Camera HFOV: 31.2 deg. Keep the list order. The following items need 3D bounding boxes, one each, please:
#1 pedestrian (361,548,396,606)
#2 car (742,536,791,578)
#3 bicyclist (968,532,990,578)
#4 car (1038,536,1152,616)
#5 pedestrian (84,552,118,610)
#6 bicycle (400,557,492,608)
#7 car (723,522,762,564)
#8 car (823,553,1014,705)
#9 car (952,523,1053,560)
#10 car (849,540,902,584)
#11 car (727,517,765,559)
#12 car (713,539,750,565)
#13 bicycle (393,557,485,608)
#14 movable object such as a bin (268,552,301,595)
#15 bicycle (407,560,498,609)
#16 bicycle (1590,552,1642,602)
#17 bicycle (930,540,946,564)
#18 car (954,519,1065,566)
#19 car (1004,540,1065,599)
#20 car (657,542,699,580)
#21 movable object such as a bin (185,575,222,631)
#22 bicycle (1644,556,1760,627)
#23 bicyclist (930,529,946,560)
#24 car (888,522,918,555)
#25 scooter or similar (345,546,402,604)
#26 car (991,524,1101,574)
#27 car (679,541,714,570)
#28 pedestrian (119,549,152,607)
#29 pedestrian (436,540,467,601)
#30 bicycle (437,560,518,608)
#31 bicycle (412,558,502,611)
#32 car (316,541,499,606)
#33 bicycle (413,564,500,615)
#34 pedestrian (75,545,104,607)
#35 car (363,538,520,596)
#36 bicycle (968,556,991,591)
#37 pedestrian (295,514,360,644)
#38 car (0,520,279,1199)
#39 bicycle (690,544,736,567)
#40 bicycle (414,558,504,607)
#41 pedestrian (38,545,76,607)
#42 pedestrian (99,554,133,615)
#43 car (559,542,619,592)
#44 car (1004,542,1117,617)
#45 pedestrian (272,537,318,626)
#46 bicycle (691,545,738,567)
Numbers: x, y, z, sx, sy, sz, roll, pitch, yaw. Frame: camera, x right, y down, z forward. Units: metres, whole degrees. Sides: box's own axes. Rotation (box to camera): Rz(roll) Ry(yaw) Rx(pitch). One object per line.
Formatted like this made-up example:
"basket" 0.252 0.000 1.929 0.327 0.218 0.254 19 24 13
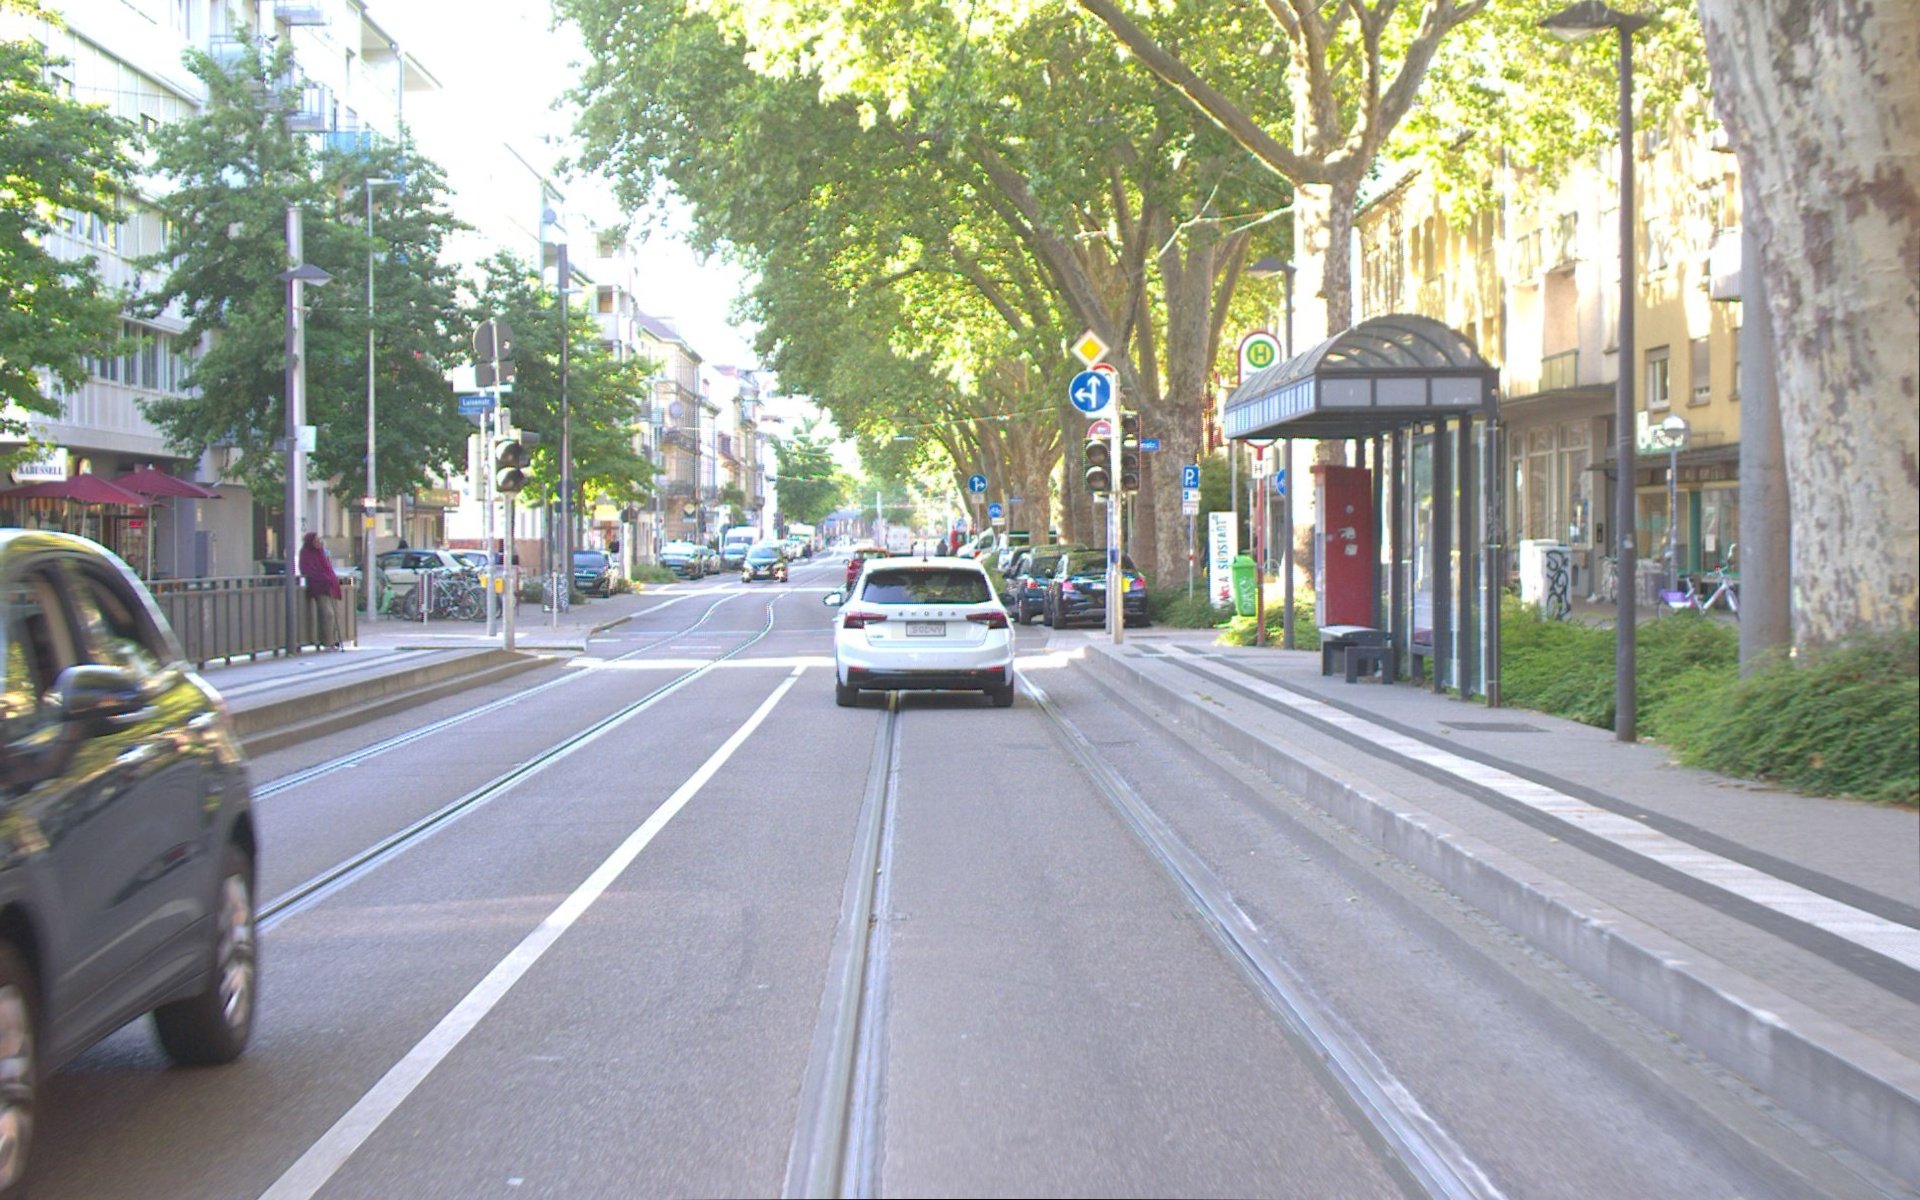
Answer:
"pedestrian" -13.182 -0.530 77.920 0.712 1.293 0.748 -1 1 -15
"car" -7.807 -1.752 139.250 1.871 1.584 4.147 2 1 -2
"bicyclist" 0.594 -1.426 109.296 0.678 1.438 1.047 -1 1 0
"car" 2.518 -0.485 65.228 1.764 1.457 5.013 0 1 -2
"pedestrian" -17.965 -0.400 71.933 0.562 1.194 0.624 -1 1 -2
"bicycle" -10.570 -0.361 70.790 1.829 1.003 0.658 1 0 -5
"car" -13.625 -3.541 215.197 2.178 2.588 4.949 0 1 -1
"car" -0.460 0.243 33.912 1.761 1.379 4.001 -1 1 -2
"car" 2.619 -3.626 212.330 6.129 2.274 2.529 0 1 -2
"car" -2.883 -1.312 117.092 1.761 1.470 4.000 -1 1 -2
"car" -14.554 -4.217 233.855 2.342 2.851 4.000 0 1 -1
"car" -13.507 -2.847 203.481 1.993 1.525 4.000 0 1 -1
"bicycle" -10.654 -0.358 70.348 1.829 1.003 0.658 1 0 -5
"movable object such as a bin" -16.832 -0.664 85.661 0.678 1.052 0.622 -1 1 1
"bicycle" -10.548 -0.324 71.437 1.829 1.003 0.658 1 0 -5
"bicycle" 13.610 -0.486 71.374 0.570 0.993 1.781 -2 1 -5
"bicycle" -0.971 -2.115 151.076 0.649 1.067 1.583 -1 1 -3
"car" 2.772 -3.246 193.713 6.129 2.626 2.529 0 1 -2
"car" 1.986 -0.801 91.950 1.564 1.514 2.910 -2 0 1
"car" -12.997 -1.795 158.820 1.702 1.645 4.242 2 1 -2
"movable object such as a bin" -12.750 0.047 57.939 0.538 0.929 0.650 -1 1 -18
"bicycle" 12.691 -0.151 58.785 1.791 1.153 0.746 -2 1 -22
"bicyclist" -0.980 -2.440 151.083 0.649 1.339 0.934 -1 1 -3
"car" -4.144 -4.451 250.288 2.202 2.379 4.000 0 1 -1
"scooter or similar" -12.063 -0.517 70.762 1.079 1.172 0.498 1 0 -2
"car" 3.665 -2.182 146.731 4.543 2.069 2.001 0 1 -3
"car" -13.353 -2.258 174.514 1.653 1.432 3.837 0 1 -2
"pedestrian" -16.924 -0.457 70.580 0.511 1.194 0.564 -1 1 -30
"pedestrian" -14.191 -0.819 95.936 0.763 1.685 0.795 0 1 -2
"bicycle" -10.371 -0.345 73.924 1.690 1.003 0.658 1 0 -5
"bicycle" -10.491 -0.326 71.757 1.829 1.060 0.658 1 0 -5
"car" -13.049 -0.632 81.301 4.012 1.470 1.852 1 0 0
"bicycle" -10.083 -0.210 68.870 1.690 1.003 0.658 1 0 -5
"pedestrian" -16.878 -0.465 66.634 0.511 1.194 0.564 -1 1 -17
"car" -13.982 -0.892 92.862 4.012 1.470 1.852 1 0 -3
"bicycle" 0.620 -0.845 109.257 0.681 1.067 1.781 -1 1 0
"pedestrian" -7.784 -0.266 42.311 0.654 1.579 0.772 0 1 0
"car" -2.945 0.607 8.587 1.761 1.583 4.000 -1 1 -1
"bicycle" -13.803 -2.474 192.333 2.524 1.168 0.719 2 -1 -7
"bicycle" -10.570 -0.364 72.569 1.829 1.003 0.658 1 0 -5
"pedestrian" -17.592 -0.469 66.988 0.562 1.194 0.513 -1 1 -36
"pedestrian" -16.773 -0.310 68.336 0.511 1.194 0.564 -1 1 1
"car" -11.826 -1.060 109.351 1.713 1.459 4.001 3 1 -8
"car" 2.023 -0.444 70.330 1.864 1.432 4.227 -1 1 -4
"pedestrian" -11.814 -0.333 61.124 0.725 1.551 0.769 -1 1 -6
"bicycle" -13.690 -2.457 191.587 2.525 1.168 0.883 2 -1 -40
